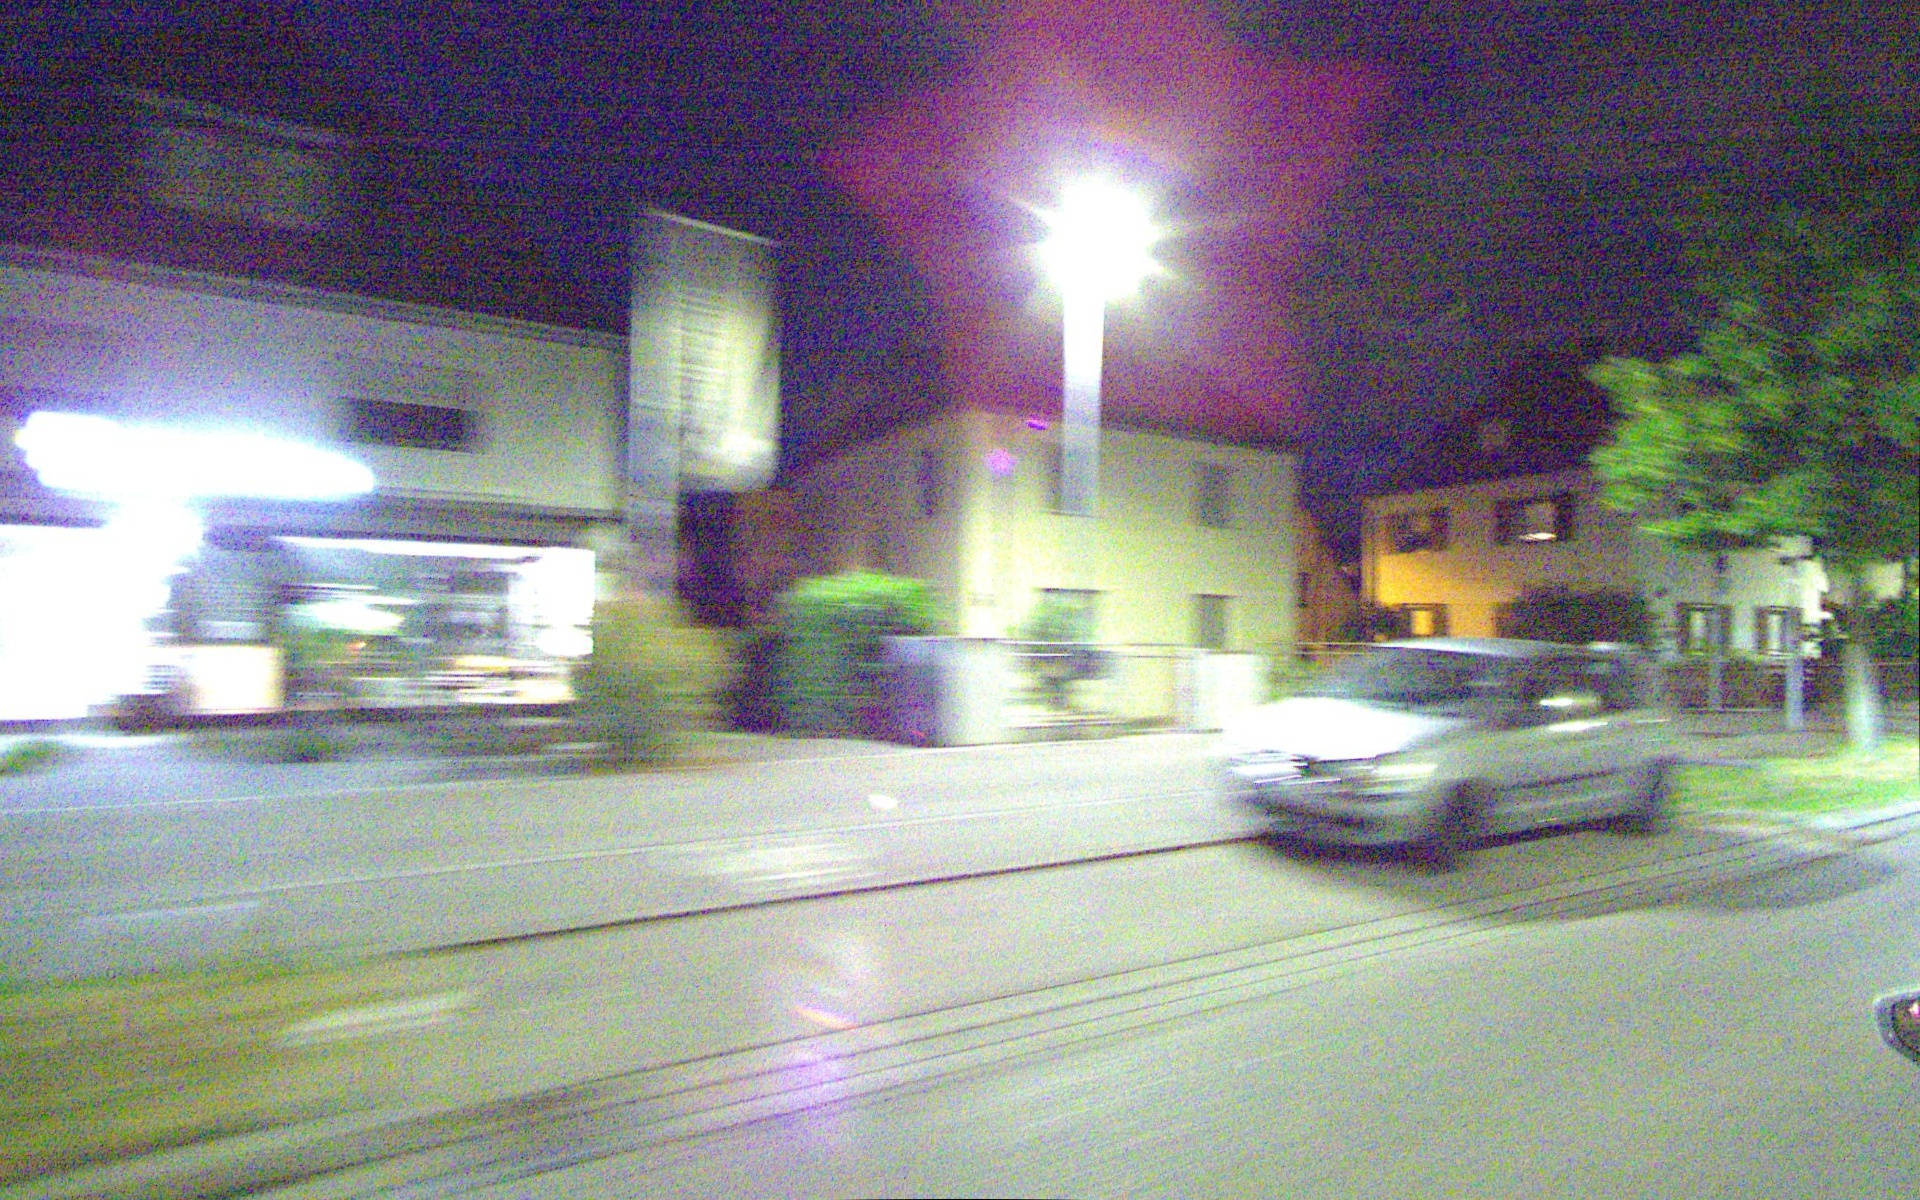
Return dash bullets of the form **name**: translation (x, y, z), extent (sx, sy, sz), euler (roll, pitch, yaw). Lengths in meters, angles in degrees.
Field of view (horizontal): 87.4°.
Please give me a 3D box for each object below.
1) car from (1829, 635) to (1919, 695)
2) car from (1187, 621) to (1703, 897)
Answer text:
- **car**: translation (27.111, 1.811, 28.273), extent (1.751, 1.648, 3.719), euler (1, -2, -10)
- **car**: translation (3.766, 0.979, 7.643), extent (3.941, 1.612, 1.664), euler (1, -1, -31)
